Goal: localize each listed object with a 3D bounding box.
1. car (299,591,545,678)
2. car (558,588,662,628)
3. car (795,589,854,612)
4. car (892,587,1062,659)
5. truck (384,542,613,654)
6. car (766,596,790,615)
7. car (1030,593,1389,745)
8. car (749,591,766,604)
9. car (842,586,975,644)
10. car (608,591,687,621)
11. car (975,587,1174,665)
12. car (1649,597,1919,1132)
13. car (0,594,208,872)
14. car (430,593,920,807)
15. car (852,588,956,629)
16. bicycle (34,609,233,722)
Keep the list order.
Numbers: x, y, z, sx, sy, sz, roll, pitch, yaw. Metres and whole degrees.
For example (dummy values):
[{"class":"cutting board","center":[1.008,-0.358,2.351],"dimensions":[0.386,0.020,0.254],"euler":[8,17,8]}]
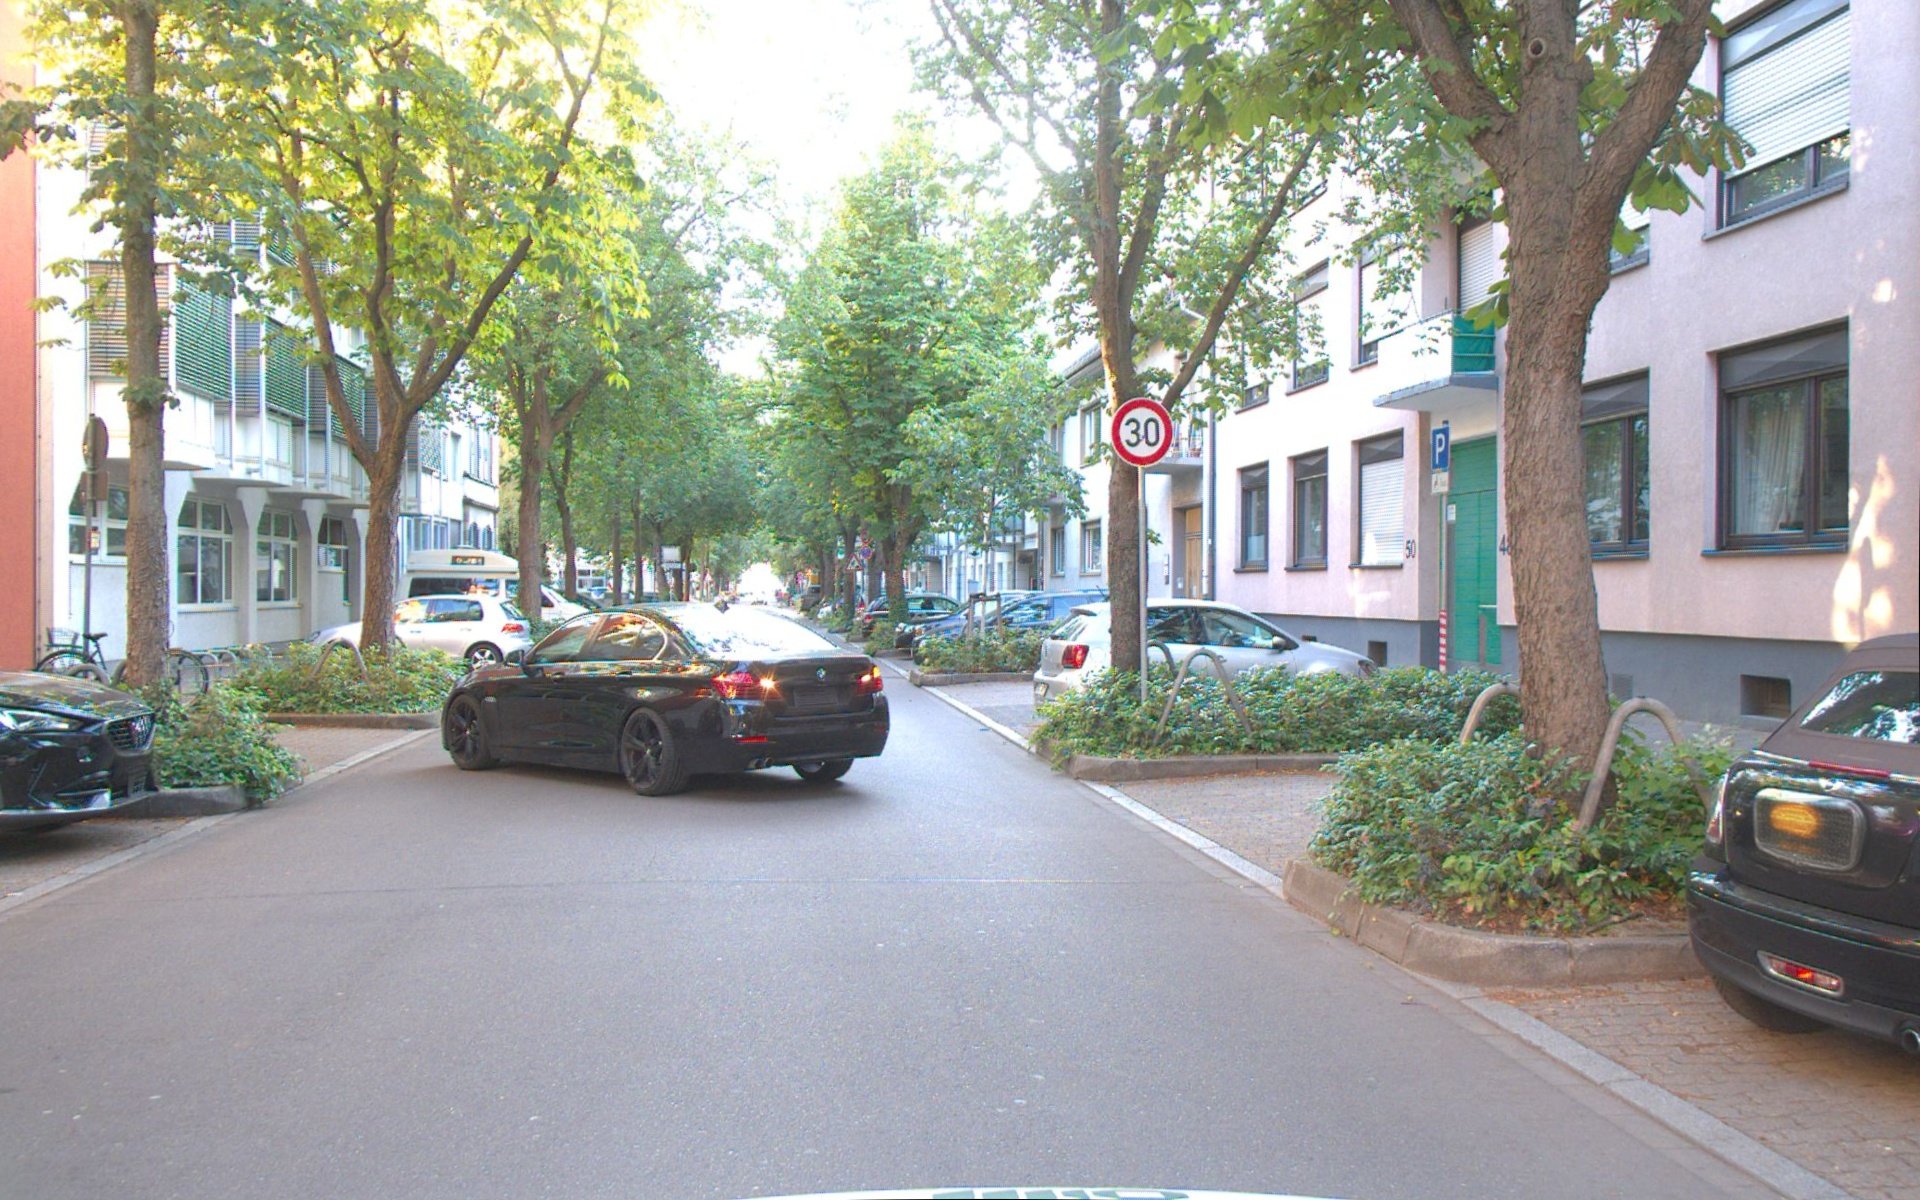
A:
[{"class":"car","center":[-9.878,0.621,30.609],"dimensions":[4.054,1.497,1.637],"euler":[1,0,-7]},{"class":"car","center":[-14.035,0.316,66.500],"dimensions":[3.945,1.497,1.638],"euler":[1,0,-7]},{"class":"car","center":[-8.413,-0.004,102.797],"dimensions":[3.589,1.417,1.562],"euler":[0,0,-9]},{"class":"car","center":[0.373,0.507,38.379],"dimensions":[3.722,1.556,1.562],"euler":[-1,0,-9]},{"class":"truck","center":[-10.779,-0.063,38.918],"dimensions":[4.903,2.483,1.914],"euler":[1,1,-6]},{"class":"car","center":[-15.070,0.444,136.973],"dimensions":[1.956,1.579,3.994],"euler":[0,0,-7]},{"class":"car","center":[2.680,0.708,18.128],"dimensions":[3.589,1.505,1.562],"euler":[-1,0,-9]},{"class":"car","center":[-22.639,-0.284,184.856],"dimensions":[1.858,1.500,3.995],"euler":[0,0,-6]},{"class":"car","center":[-1.478,0.405,46.833],"dimensions":[3.589,1.563,1.562],"euler":[-1,0,-9]},{"class":"car","center":[-16.449,0.300,87.092],"dimensions":[3.945,1.497,1.638],"euler":[1,0,-7]},{"class":"car","center":[2.198,0.473,32.159],"dimensions":[3.589,1.417,1.562],"euler":[-1,0,-9]},{"class":"car","center":[4.379,0.686,5.399],"dimensions":[3.638,1.452,1.622],"euler":[-3,1,-12]},{"class":"car","center":[-7.083,0.719,9.939],"dimensions":[4.274,1.535,1.832],"euler":[1,0,-7]},{"class":"car","center":[-2.525,0.686,13.788],"dimensions":[1.755,1.475,4.591],"euler":[0,1,-45]},{"class":"car","center":[-2.053,0.297,60.057],"dimensions":[3.589,1.417,1.562],"euler":[-1,0,-9]},{"class":"bicycle","center":[-9.304,0.721,18.683],"dimensions":[1.939,1.220,0.499],"euler":[0,0,-18]}]
